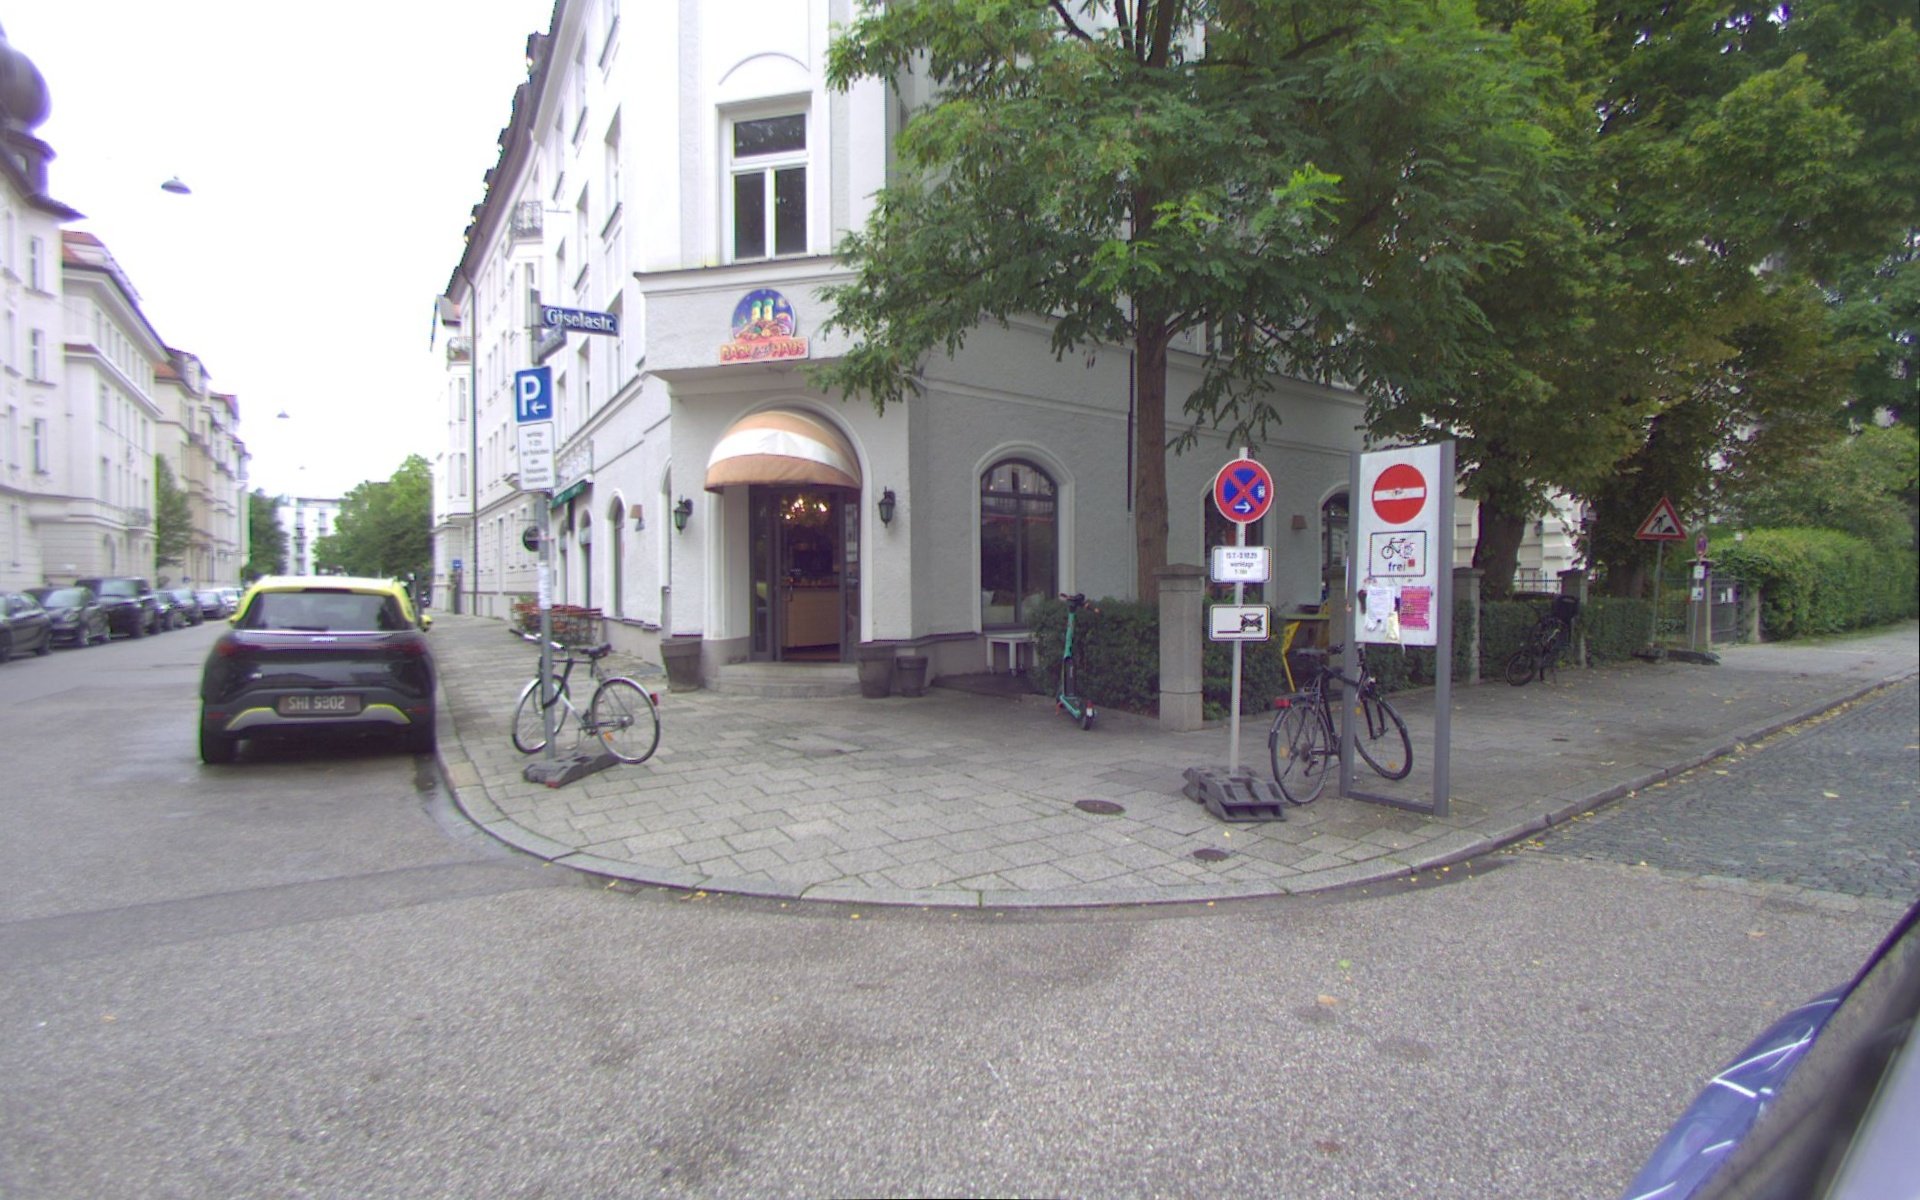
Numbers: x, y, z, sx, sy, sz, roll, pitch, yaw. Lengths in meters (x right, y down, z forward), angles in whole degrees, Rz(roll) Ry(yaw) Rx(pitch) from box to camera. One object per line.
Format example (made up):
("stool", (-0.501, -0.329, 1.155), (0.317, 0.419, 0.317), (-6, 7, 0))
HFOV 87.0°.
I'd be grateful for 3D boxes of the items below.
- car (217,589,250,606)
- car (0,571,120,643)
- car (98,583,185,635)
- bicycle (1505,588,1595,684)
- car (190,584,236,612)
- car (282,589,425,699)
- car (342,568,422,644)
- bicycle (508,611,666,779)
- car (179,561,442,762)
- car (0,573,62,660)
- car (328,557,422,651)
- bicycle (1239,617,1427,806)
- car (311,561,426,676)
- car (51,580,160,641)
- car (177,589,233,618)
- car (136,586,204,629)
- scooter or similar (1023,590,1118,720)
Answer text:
("car", (-55.444, -0.205, 77.292), (1.962, 1.294, 4.000), (-1, 1, -34))
("car", (-23.261, 0.132, 26.017), (1.852, 1.684, 4.297), (-1, 1, -30))
("car", (-28.861, 0.277, 35.796), (1.819, 1.678, 3.935), (-1, 1, -31))
("bicycle", (8.251, 0.476, 14.132), (1.700, 1.212, 0.429), (-2, 6, -39))
("car", (-43.129, -0.138, 58.494), (1.962, 1.529, 4.001), (-1, 1, -34))
("car", (-9.106, 0.562, 15.423), (1.666, 1.443, 3.545), (-1, 1, -28))
("car", (-15.355, 0.120, 26.882), (1.708, 1.835, 4.004), (-1, 1, -30))
("bicycle", (-3.053, 0.701, 8.204), (0.726, 1.081, 1.606), (-5, 5, -36))
("car", (-6.419, 0.457, 10.409), (1.867, 1.617, 4.093), (-1, 1, -28))
("car", (-20.407, 0.317, 20.970), (1.852, 1.684, 4.297), (-1, 1, -30))
("car", (-13.270, 0.055, 23.116), (1.695, 1.959, 3.665), (-1, 1, -28))
("bicycle", (2.646, 0.729, 7.108), (1.559, 1.161, 0.389), (-1, 1, -33))
("car", (-11.343, 0.283, 19.583), (1.739, 1.994, 3.937), (-1, 1, -28))
("car", (-25.515, 0.270, 30.364), (1.796, 1.692, 4.062), (-1, 1, -30))
("car", (-37.395, 0.158, 50.197), (1.775, 1.364, 3.551), (-1, 1, -30))
("car", (-31.684, 0.262, 40.672), (1.630, 1.613, 3.750), (-1, 1, -30))
("scooter or similar", (1.122, 0.525, 10.601), (0.396, 1.186, 1.612), (-1, 3, -16))
